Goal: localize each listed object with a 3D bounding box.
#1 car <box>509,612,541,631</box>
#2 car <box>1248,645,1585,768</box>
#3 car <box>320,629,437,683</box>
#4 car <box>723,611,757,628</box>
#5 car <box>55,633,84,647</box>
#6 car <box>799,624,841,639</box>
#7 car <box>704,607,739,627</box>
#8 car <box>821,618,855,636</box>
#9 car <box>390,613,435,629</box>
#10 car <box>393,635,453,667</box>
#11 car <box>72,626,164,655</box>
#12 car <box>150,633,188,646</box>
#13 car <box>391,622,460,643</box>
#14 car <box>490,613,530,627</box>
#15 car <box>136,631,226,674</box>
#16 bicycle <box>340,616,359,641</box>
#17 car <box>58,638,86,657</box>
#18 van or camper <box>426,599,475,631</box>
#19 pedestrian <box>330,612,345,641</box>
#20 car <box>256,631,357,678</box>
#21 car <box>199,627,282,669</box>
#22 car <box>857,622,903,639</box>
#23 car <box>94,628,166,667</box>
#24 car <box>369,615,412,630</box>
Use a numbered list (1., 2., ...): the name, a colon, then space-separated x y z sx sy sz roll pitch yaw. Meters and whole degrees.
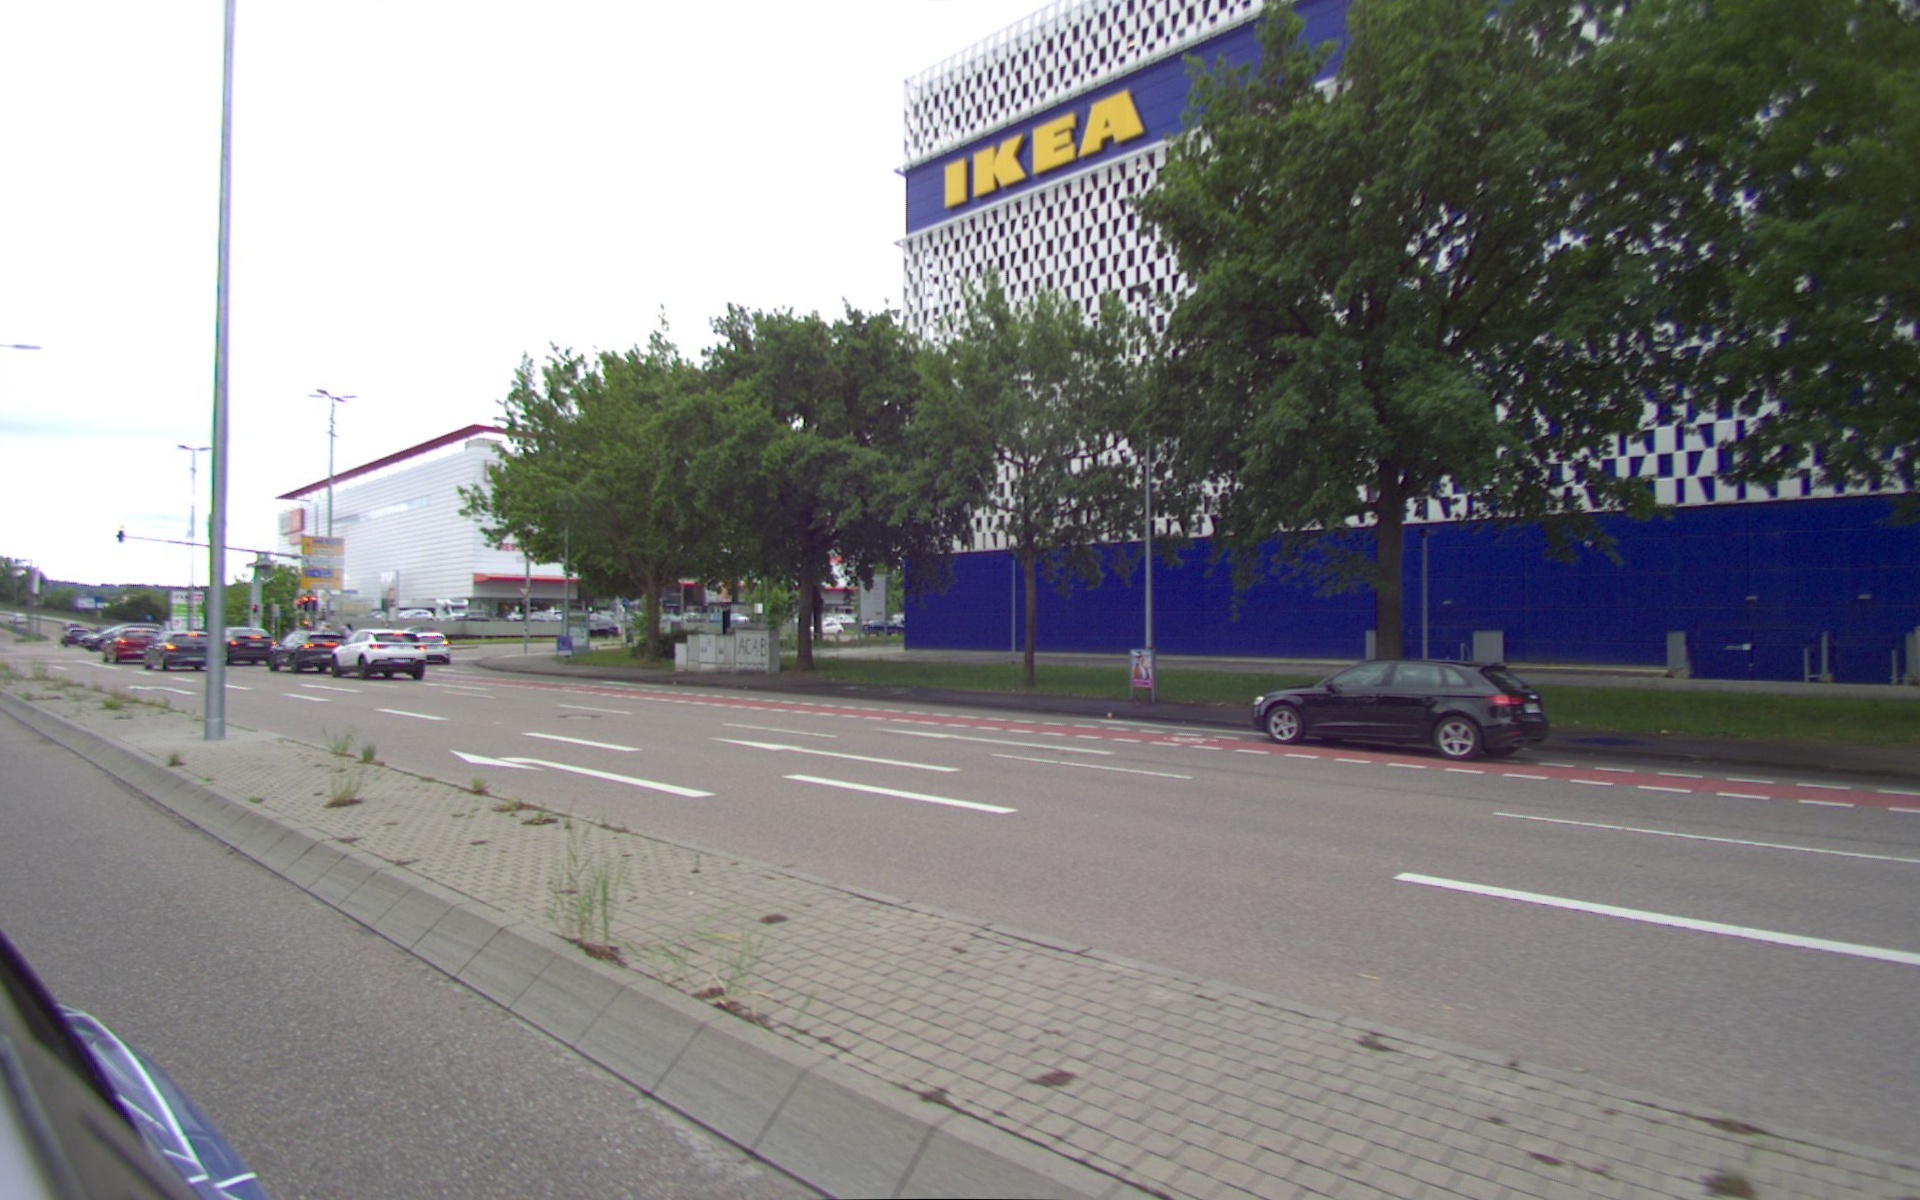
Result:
1. car: -49.343 2.398 114.723 3.868 1.962 1.843 -4 -3 43
2. car: 6.758 1.505 15.338 1.894 1.513 4.258 4 -4 -41
3. car: -19.126 1.837 33.218 4.576 1.607 1.972 -3 -6 42
4. car: -28.933 2.546 133.027 2.000 2.029 3.943 -4 -3 43
5. car: -102.492 4.615 116.462 4.874 1.422 1.793 -3 -4 41
6. car: -14.850 3.294 107.202 4.156 1.426 1.804 0 -3 -45
7. car: -27.260 1.971 115.738 4.001 2.029 1.971 -4 -3 44
8. car: -15.716 3.465 130.049 4.327 2.029 1.971 -4 -3 44
9. car: -62.028 2.379 114.680 4.197 1.688 1.778 0 -3 -45
10. car: -25.713 2.434 48.369 1.833 1.473 4.341 3 -4 -37
11. car: -51.573 2.453 62.043 1.802 1.586 4.160 -4 -3 42
12. car: -110.690 5.479 141.695 4.131 1.622 1.725 0 -3 -40
13. car: -39.816 2.427 75.421 4.156 1.426 1.804 0 -3 -45
14. car: -57.245 2.544 128.746 4.197 1.688 1.778 0 -3 -45
15. car: -28.254 1.899 36.651 4.331 1.473 1.837 -3 -4 43
16. bicycle: -35.505 1.638 58.897 0.587 1.407 1.940 2 -1 -21
17. car: -81.430 4.368 92.778 1.670 1.540 3.928 0 -3 -45
18. van or camper: -55.378 1.670 109.840 2.674 3.159 7.241 0 -3 -44
19. pedestrian: -36.041 1.526 58.590 0.630 1.639 0.694 1 -1 -22
20. car: -23.997 1.957 37.097 4.596 1.556 1.861 0 -3 41
21. car: -31.043 2.054 43.628 4.331 1.650 1.861 -1 -4 41
22. car: -7.303 2.789 92.941 4.057 1.498 1.703 3 -3 -45
23. car: -35.104 1.982 42.783 4.078 1.499 1.716 0 -2 42
24. car: -68.358 2.736 121.482 4.197 1.688 1.778 0 -3 -45
